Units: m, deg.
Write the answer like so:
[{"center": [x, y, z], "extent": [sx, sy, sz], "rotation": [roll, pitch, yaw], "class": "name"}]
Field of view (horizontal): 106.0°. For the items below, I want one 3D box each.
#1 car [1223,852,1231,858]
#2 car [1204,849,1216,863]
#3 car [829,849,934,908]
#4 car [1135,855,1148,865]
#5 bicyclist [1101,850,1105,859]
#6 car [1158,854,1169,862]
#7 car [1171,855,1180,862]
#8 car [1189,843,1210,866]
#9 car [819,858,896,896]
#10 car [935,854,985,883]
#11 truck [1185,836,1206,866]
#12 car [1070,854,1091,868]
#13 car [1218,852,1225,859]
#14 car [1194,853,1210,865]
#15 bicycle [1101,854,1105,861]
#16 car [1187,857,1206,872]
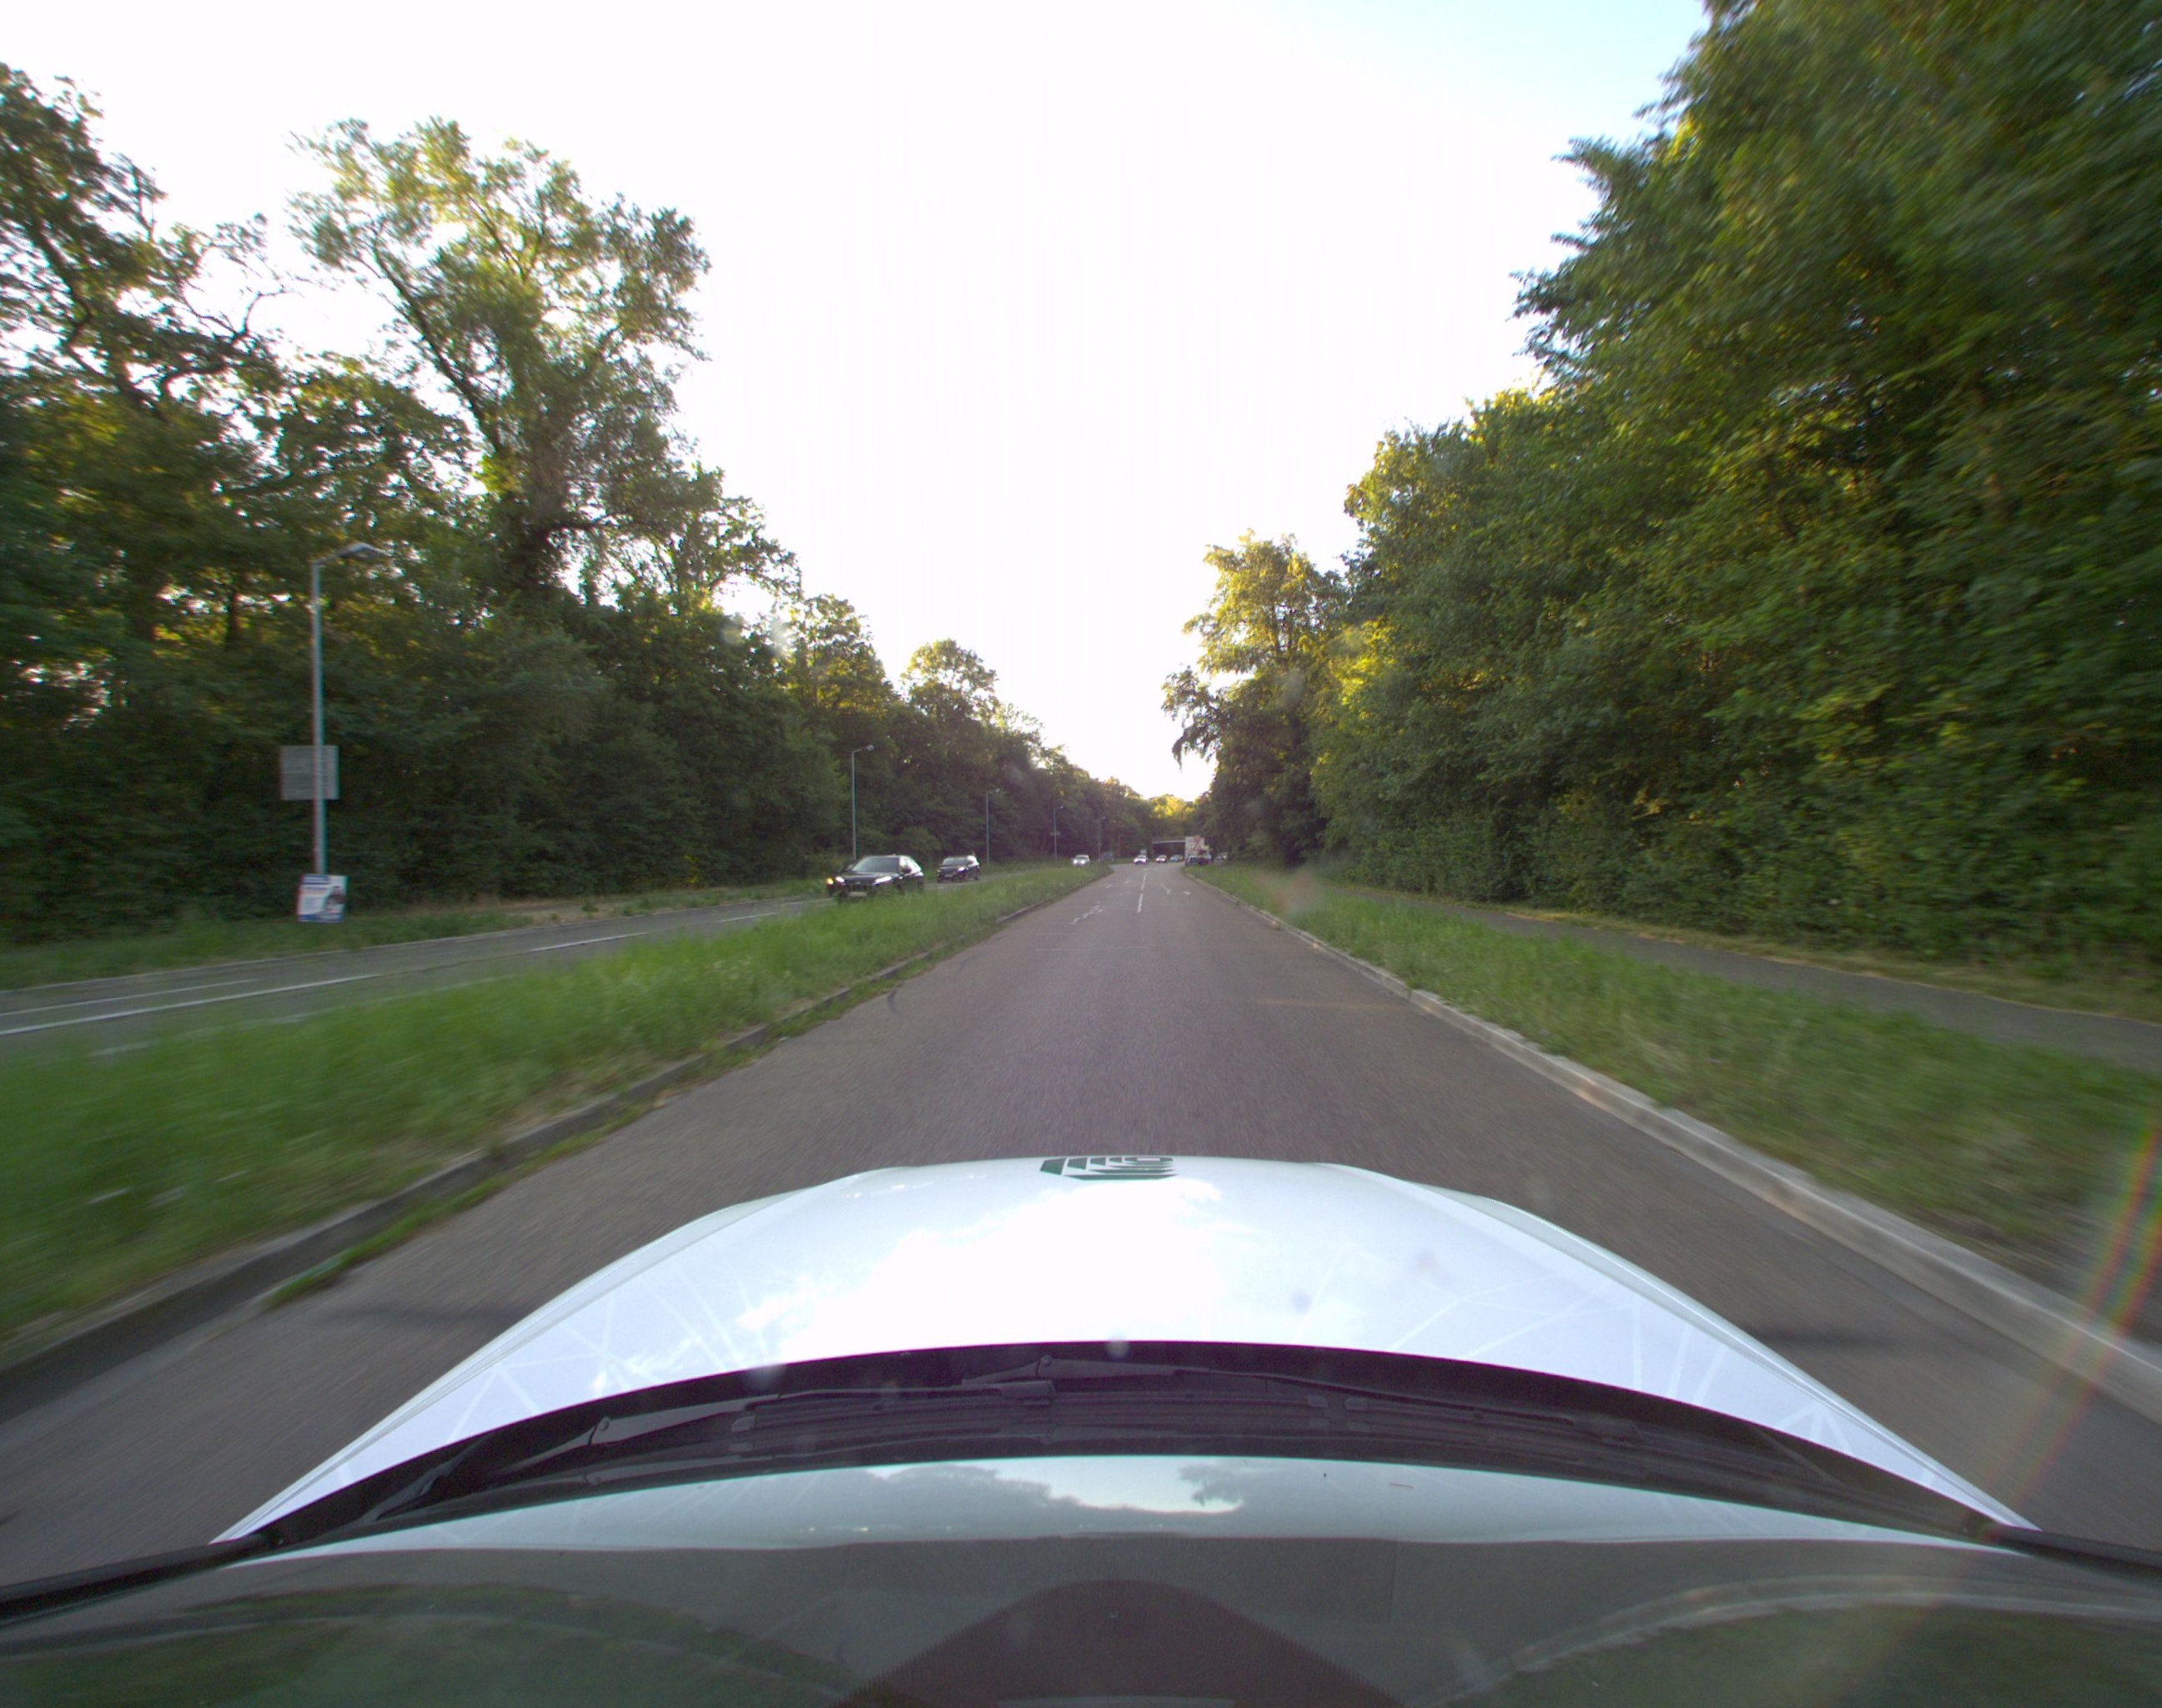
[{"center": [36.876, 0.301, 206.247], "extent": [1.879, 1.447, 4.122], "rotation": [-1, 0, 11], "class": "car"}, {"center": [25.658, 0.431, 161.437], "extent": [1.980, 2.410, 5.842], "rotation": [-2, -2, 12], "class": "car"}, {"center": [-6.164, 0.711, 25.704], "extent": [1.805, 1.627, 4.457], "rotation": [-2, 0, 5], "class": "car"}, {"center": [9.801, 0.996, 132.134], "extent": [1.825, 1.507, 3.946], "rotation": [-2, -2, 8], "class": "car"}, {"center": [3.922, 0.127, 147.098], "extent": [0.618, 1.511, 0.847], "rotation": [-2, 1, 1], "class": "bicyclist"}, {"center": [15.981, 0.700, 157.621], "extent": [1.706, 1.446, 4.184], "rotation": [-1, 0, 9], "class": "car"}, {"center": [20.080, 0.902, 172.652], "extent": [1.709, 1.397, 4.386], "rotation": [-1, 0, 9], "class": "car"}, {"center": [15.077, 0.042, 104.164], "extent": [2.396, 2.858, 5.941], "rotation": [0, 0, 6], "class": "car"}, {"center": [-9.562, 0.941, 35.164], "extent": [1.814, 1.480, 4.238], "rotation": [-2, 0, 5], "class": "car"}, {"center": [-7.487, 0.870, 50.670], "extent": [1.984, 1.627, 4.657], "rotation": [-2, 0, 5], "class": "car"}, {"center": [15.881, -0.393, 112.481], "extent": [2.642, 4.027, 9.747], "rotation": [0, 0, 9], "class": "truck"}, {"center": [-0.048, 0.847, 97.779], "extent": [1.983, 1.458, 3.817], "rotation": [-1, -2, 7], "class": "car"}, {"center": [38.391, 0.286, 222.436], "extent": [1.981, 1.838, 4.012], "rotation": [-1, 0, 11], "class": "car"}, {"center": [14.548, 0.639, 97.724], "extent": [1.690, 1.406, 4.082], "rotation": [-1, 0, 6], "class": "car"}, {"center": [3.930, 0.579, 147.141], "extent": [0.627, 1.217, 2.262], "rotation": [-1, 0, 1], "class": "bicycle"}, {"center": [11.057, 1.011, 78.022], "extent": [1.654, 1.405, 3.950], "rotation": [2, 0, 8], "class": "car"}]
